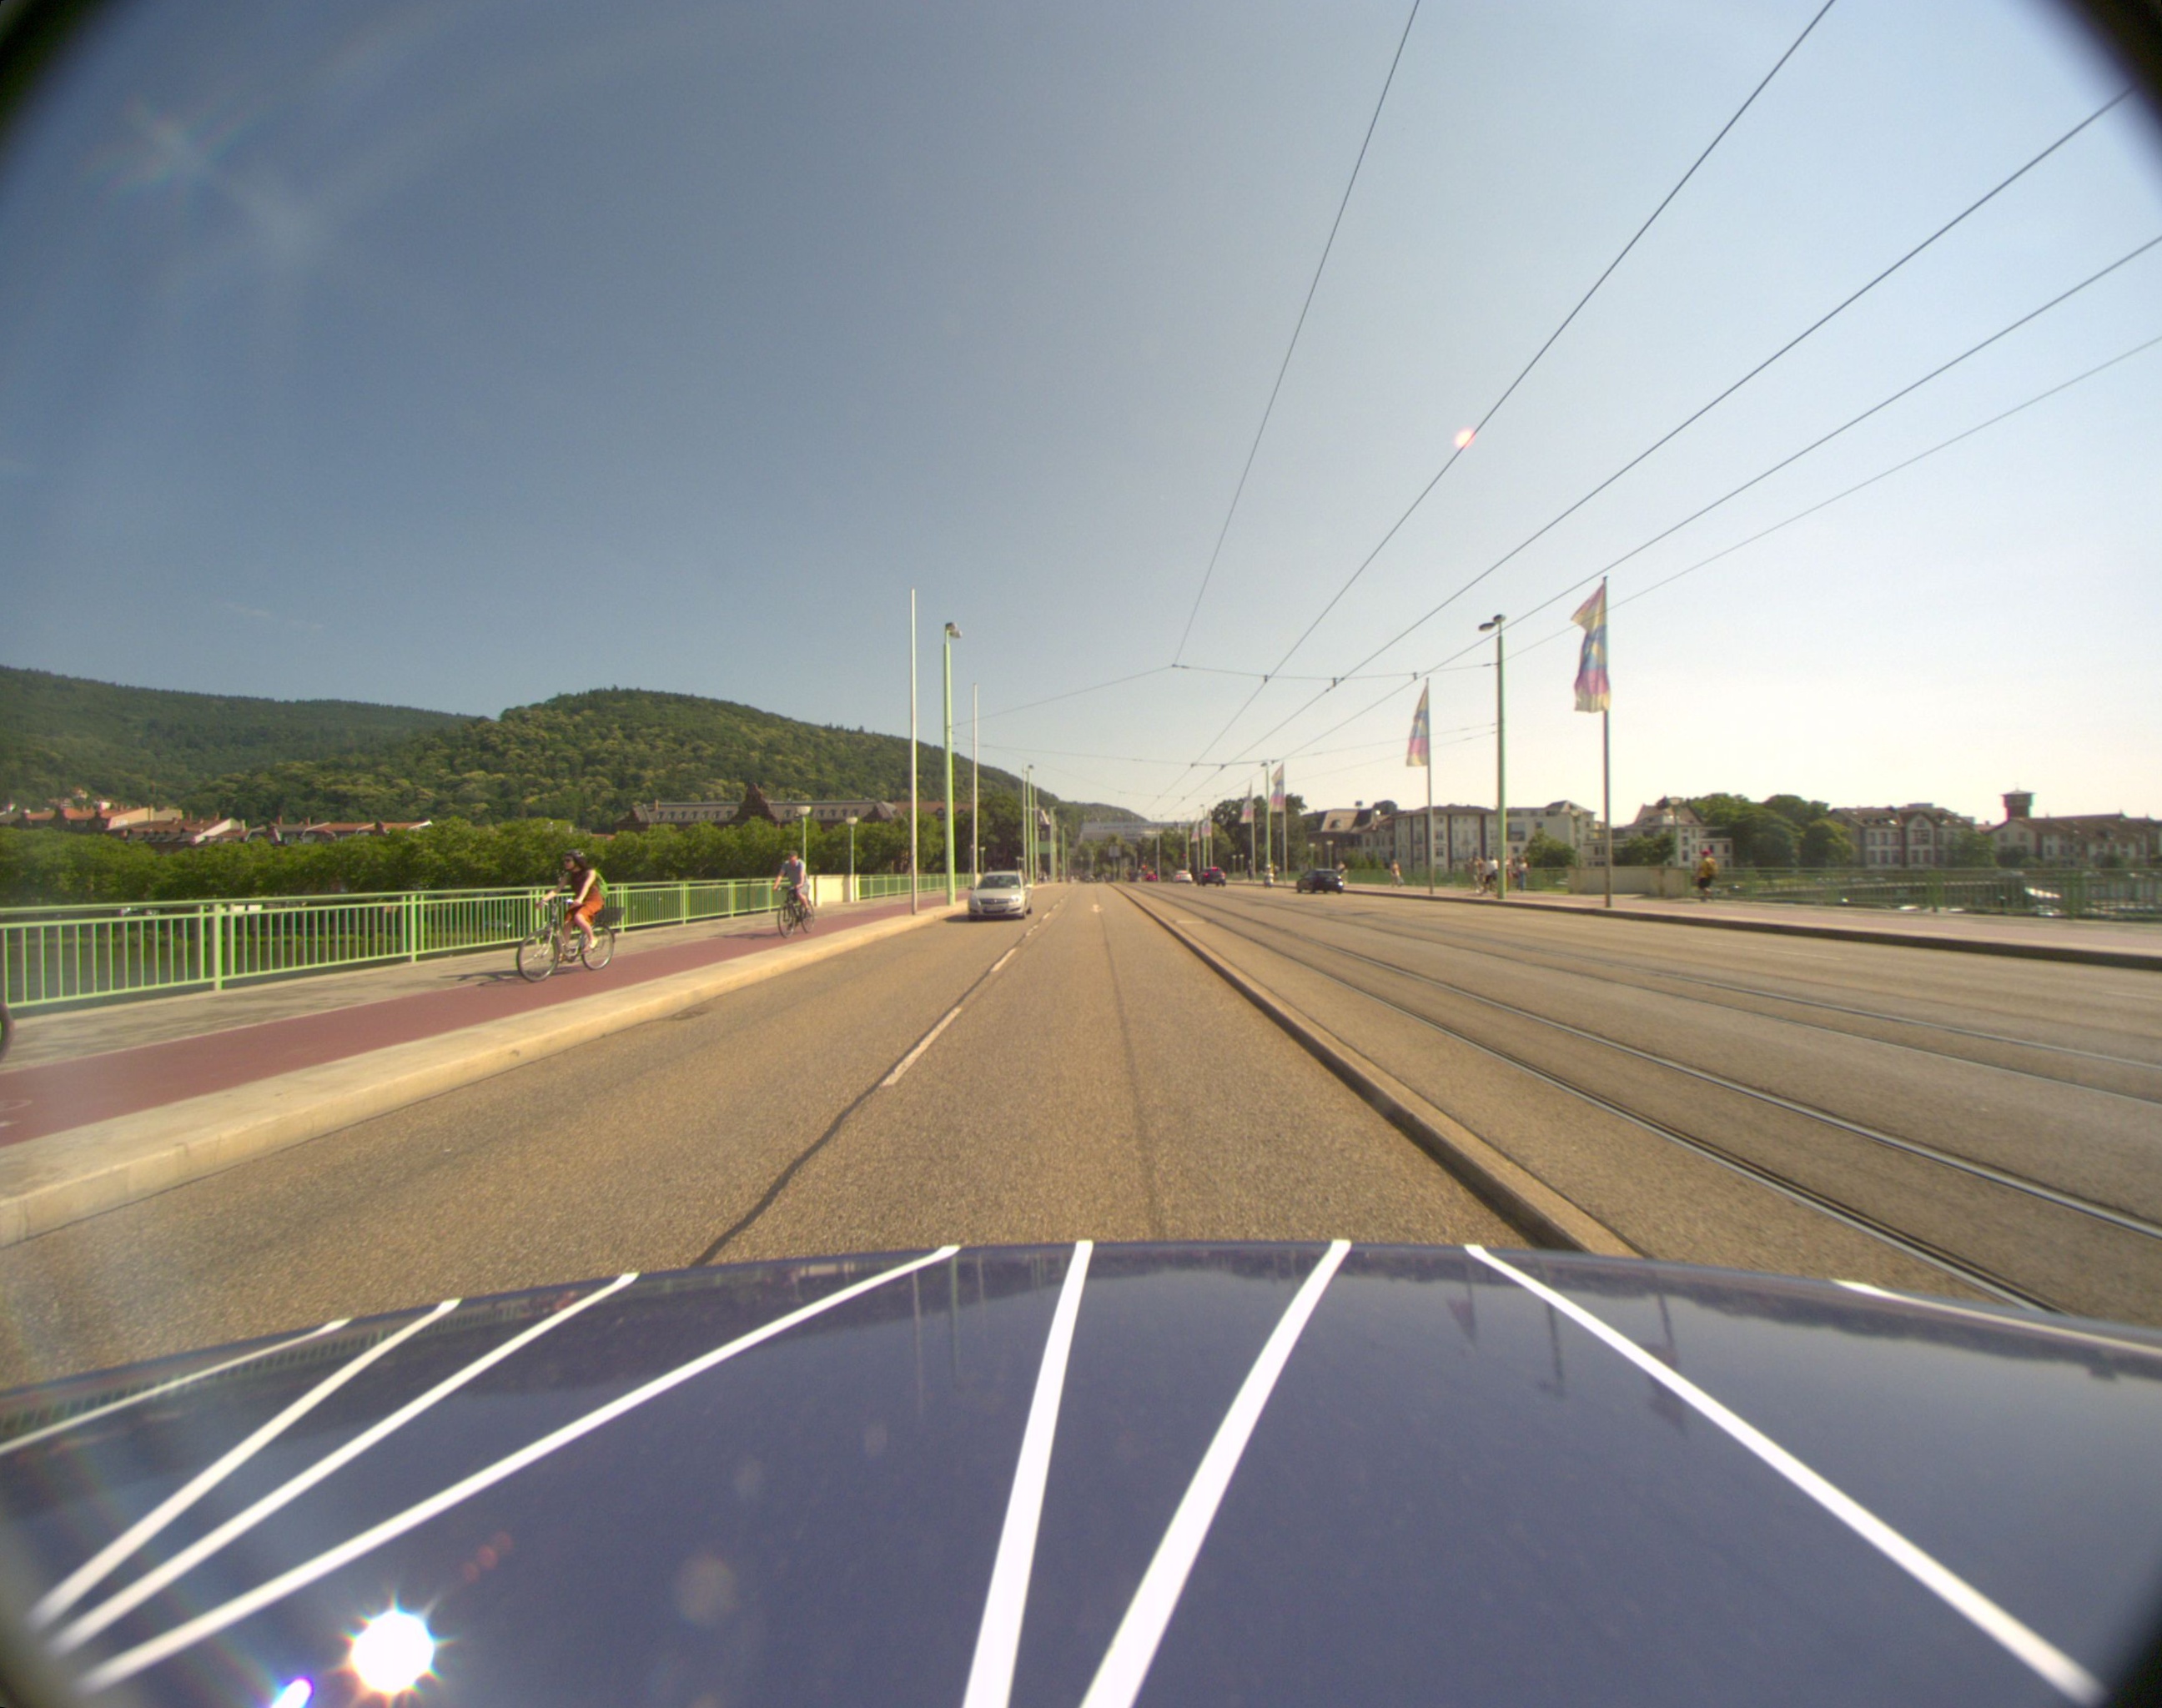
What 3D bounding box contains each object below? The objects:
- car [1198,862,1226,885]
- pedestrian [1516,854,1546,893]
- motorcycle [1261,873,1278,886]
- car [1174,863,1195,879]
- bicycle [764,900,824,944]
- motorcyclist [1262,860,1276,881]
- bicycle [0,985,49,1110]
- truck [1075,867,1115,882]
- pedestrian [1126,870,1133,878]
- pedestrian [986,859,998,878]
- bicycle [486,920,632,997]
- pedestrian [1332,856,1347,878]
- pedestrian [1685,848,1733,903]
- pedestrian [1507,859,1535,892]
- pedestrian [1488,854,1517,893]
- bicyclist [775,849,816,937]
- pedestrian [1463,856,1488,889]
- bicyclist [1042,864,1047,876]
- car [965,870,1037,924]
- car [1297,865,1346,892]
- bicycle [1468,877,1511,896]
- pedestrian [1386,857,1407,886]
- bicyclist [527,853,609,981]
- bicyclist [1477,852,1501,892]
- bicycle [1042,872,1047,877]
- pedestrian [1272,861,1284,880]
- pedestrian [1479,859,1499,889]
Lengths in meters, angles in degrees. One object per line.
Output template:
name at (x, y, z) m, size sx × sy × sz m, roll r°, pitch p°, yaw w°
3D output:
car at (11.031, 1.621, 64.211) m, size 1.714 × 1.686 × 4.000 m, roll -5°, pitch 0°, yaw 2°
pedestrian at (20.131, 0.849, 34.004) m, size 0.686 × 1.680 × 1.022 m, roll -3°, pitch 0°, yaw 1°
motorcycle at (14.176, 1.893, 57.142) m, size 0.735 × 0.884 × 2.145 m, roll -5°, pitch 0°, yaw 1°
car at (11.577, 1.929, 85.540) m, size 1.814 × 1.611 × 4.001 m, roll -5°, pitch 0°, yaw 2°
bicycle at (-5.977, 1.394, 15.927) m, size 0.595 × 0.761 × 1.866 m, roll 0°, pitch 0°, yaw -1°
motorcyclist at (14.129, 1.232, 57.035) m, size 0.739 × 1.504 × 0.729 m, roll -5°, pitch 0°, yaw 0°
bicycle at (-7.215, 1.258, 4.183) m, size 0.595 × 0.761 × 1.831 m, roll 0°, pitch 0°, yaw -1°
truck at (2.799, 4.043, 150.126) m, size 7.683 × 2.248 × 2.663 m, roll -5°, pitch 0°, yaw 5°
pedestrian at (12.011, 5.020, 187.877) m, size 1.199 × 2.002 × 1.037 m, roll -2°, pitch 1°, yaw 25°
pedestrian at (-8.089, 1.318, 69.272) m, size 0.949 × 1.653 × 1.082 m, roll 1°, pitch 0°, yaw 1°
bicycle at (-6.790, 1.325, 10.012) m, size 0.595 × 0.761 × 1.867 m, roll 0°, pitch 0°, yaw 1°
pedestrian at (20.149, 1.006, 59.259) m, size 0.787 × 1.689 × 1.022 m, roll -3°, pitch 0°, yaw 1°
pedestrian at (19.754, 0.668, 23.909) m, size 0.592 × 1.689 × 1.022 m, roll -3°, pitch 0°, yaw 1°
pedestrian at (19.501, 0.929, 33.711) m, size 0.592 × 1.406 × 1.022 m, roll -3°, pitch 0°, yaw 1°
pedestrian at (18.718, 0.861, 33.753) m, size 0.671 × 1.689 × 1.022 m, roll -3°, pitch 0°, yaw 1°
bicyclist at (-5.978, 0.806, 15.934) m, size 0.588 × 1.809 × 0.702 m, roll 0°, pitch 0°, yaw -1°
pedestrian at (19.556, 0.909, 37.683) m, size 0.627 × 1.590 × 1.022 m, roll -3°, pitch 0°, yaw 1°
bicyclist at (-5.097, 2.209, 106.253) m, size 0.731 × 1.655 × 0.844 m, roll 0°, pitch 0°, yaw 2°
car at (-2.446, 1.284, 24.169) m, size 1.710 × 1.457 × 4.326 m, roll -2°, pitch 0°, yaw 1°
car at (13.788, 1.369, 43.808) m, size 1.672 × 1.428 × 4.000 m, roll 0°, pitch 0°, yaw 2°
bicycle at (17.135, 1.333, 31.910) m, size 0.667 × 0.712 × 2.173 m, roll -1°, pitch 0°, yaw 1°
pedestrian at (19.010, 1.053, 45.775) m, size 0.787 × 1.689 × 1.022 m, roll -3°, pitch 0°, yaw 1°
bicyclist at (-6.782, 0.808, 10.075) m, size 0.606 × 1.641 × 0.702 m, roll 0°, pitch 0°, yaw 2°
bicyclist at (17.120, 0.752, 31.890) m, size 0.666 × 1.640 × 0.622 m, roll -1°, pitch 0°, yaw 2°
bicycle at (-5.092, 2.869, 106.047) m, size 0.595 × 0.761 × 1.867 m, roll 0°, pitch 0°, yaw 1°
pedestrian at (18.756, 1.547, 72.230) m, size 0.787 × 1.689 × 1.022 m, roll -3°, pitch 0°, yaw 1°
pedestrian at (20.348, 0.986, 37.886) m, size 0.547 × 1.429 × 0.789 m, roll -3°, pitch 0°, yaw 1°
